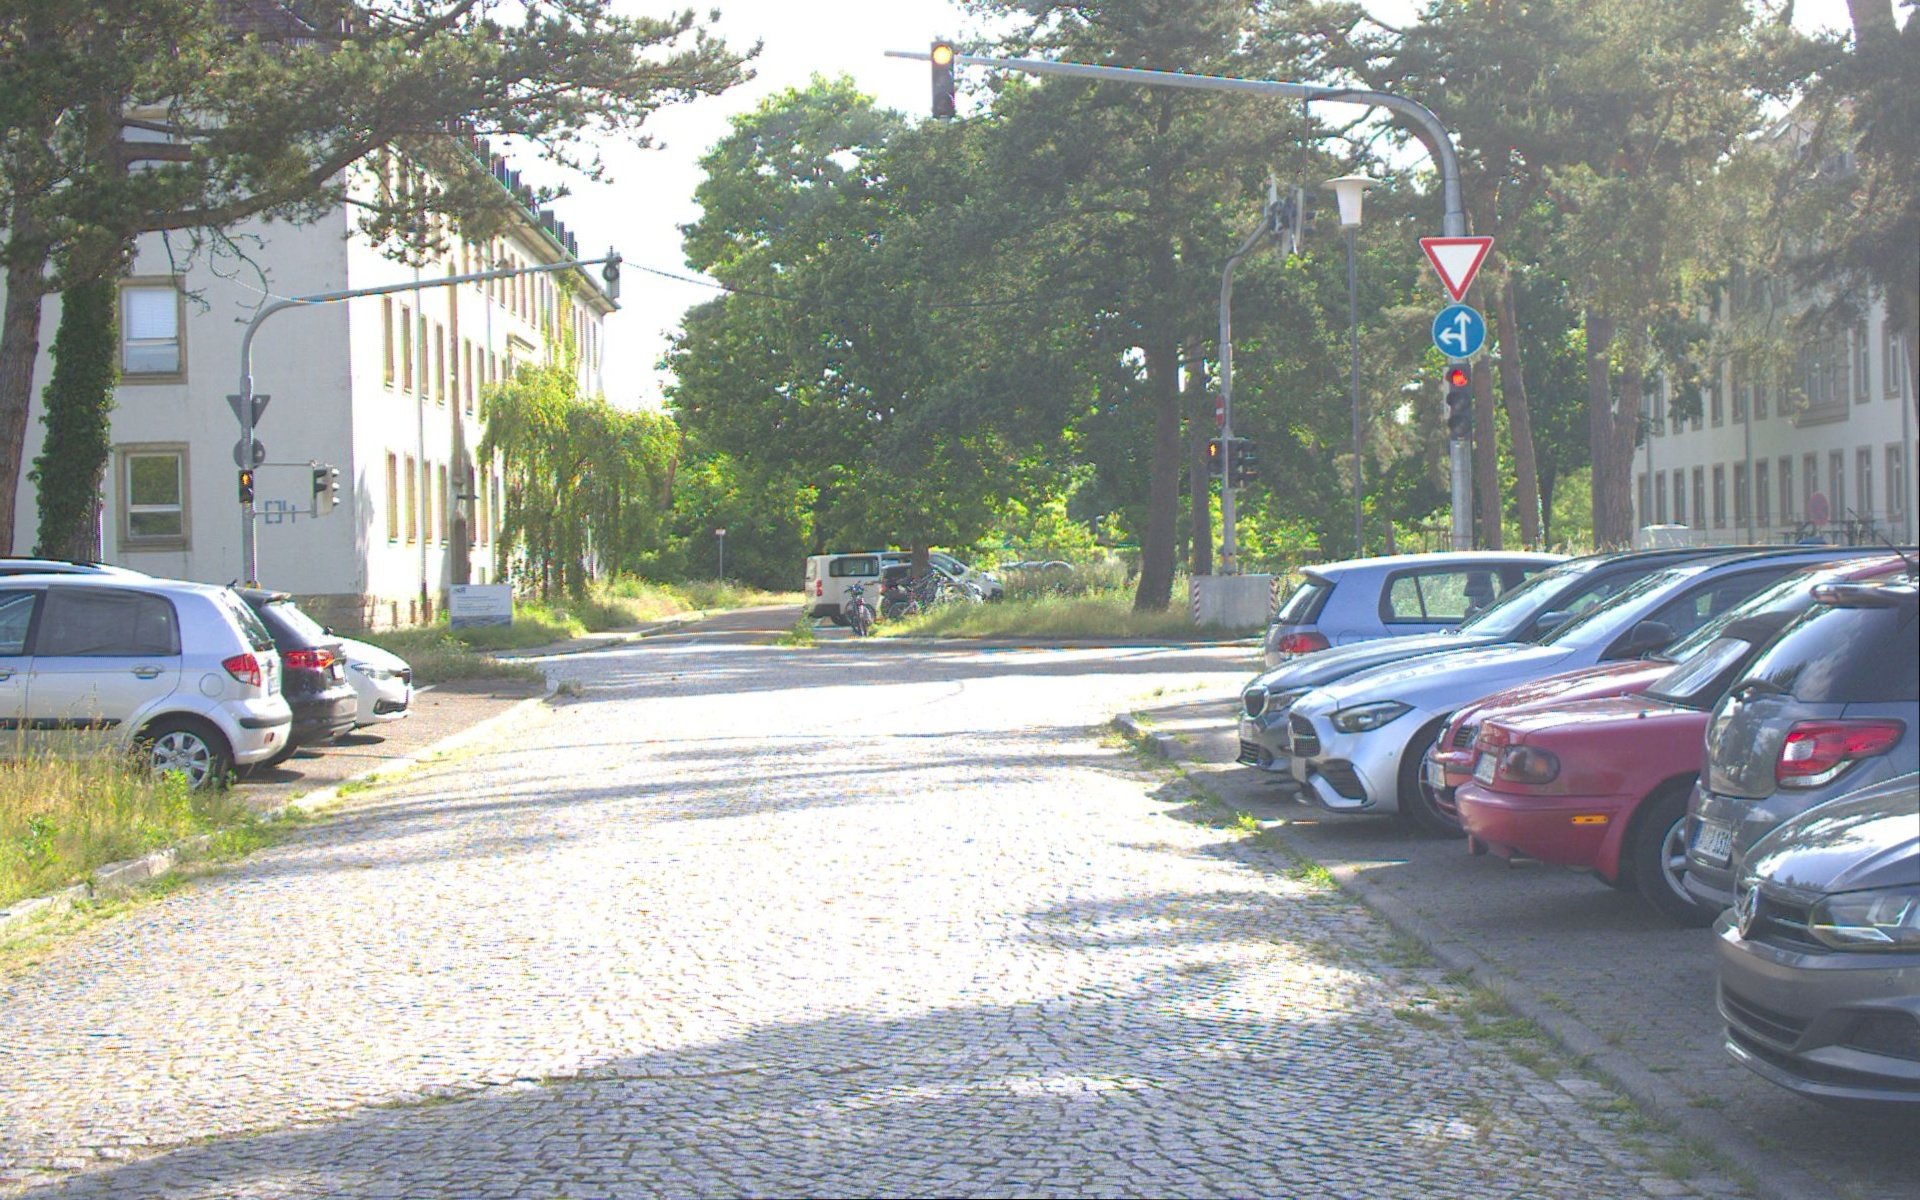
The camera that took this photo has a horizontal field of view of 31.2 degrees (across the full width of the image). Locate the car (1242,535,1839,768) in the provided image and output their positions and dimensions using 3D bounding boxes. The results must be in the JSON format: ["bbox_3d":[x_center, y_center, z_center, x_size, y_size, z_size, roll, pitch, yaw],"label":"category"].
[{"bbox_3d":[4.040,0.336,24.327,3.882,1.410,1.637,-3,1,0],"label":"car"}]

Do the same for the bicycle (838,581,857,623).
[{"bbox_3d":[-2.711,0.040,82.762,0.417,1.007,1.483,1,0,-1],"label":"bicycle"}]

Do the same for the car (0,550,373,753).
[{"bbox_3d":[-7.085,0.398,28.806,4.079,1.588,1.886,1,1,-4],"label":"car"}]

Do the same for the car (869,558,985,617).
[{"bbox_3d":[-0.855,-0.314,87.609,2.781,1.462,1.671,1,0,-6],"label":"car"}]

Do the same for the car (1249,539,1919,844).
[{"bbox_3d":[3.907,0.450,18.830,4.432,1.410,1.781,-3,1,0],"label":"car"}]

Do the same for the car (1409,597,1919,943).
[{"bbox_3d":[3.874,0.632,14.348,3.707,1.219,1.746,-3,1,0],"label":"car"}]

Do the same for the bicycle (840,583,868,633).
[{"bbox_3d":[-2.138,0.158,69.536,0.467,1.007,1.586,1,0,-5],"label":"bicycle"}]

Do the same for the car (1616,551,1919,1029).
[{"bbox_3d":[4.310,0.527,11.751,3.707,1.444,1.816,-3,1,-1],"label":"car"}]

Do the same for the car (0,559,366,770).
[{"bbox_3d":[-6.579,0.454,25.852,3.986,1.475,1.803,1,1,-4],"label":"car"}]

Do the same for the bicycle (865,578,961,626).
[{"bbox_3d":[-1.034,0.044,74.844,2.004,1.007,0.632,1,0,-8],"label":"bicycle"}]

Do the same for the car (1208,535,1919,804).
[{"bbox_3d":[3.927,0.402,21.546,4.559,1.410,1.637,-3,1,0],"label":"car"}]

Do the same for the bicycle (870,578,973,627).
[{"bbox_3d":[-0.825,0.049,73.134,2.108,1.007,0.621,1,0,-8],"label":"bicycle"}]

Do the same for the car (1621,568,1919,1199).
[{"bbox_3d":[3.773,0.602,8.875,3.707,1.444,1.856,-3,1,0],"label":"car"}]

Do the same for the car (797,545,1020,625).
[{"bbox_3d":[-1.372,-0.378,91.230,5.520,2.007,2.001,1,0,-19],"label":"car"}]

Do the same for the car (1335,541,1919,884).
[{"bbox_3d":[4.015,0.480,16.749,4.127,1.444,1.637,-3,1,0],"label":"car"}]

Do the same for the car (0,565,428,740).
[{"bbox_3d":[-7.086,0.451,31.120,4.333,1.463,1.831,1,1,-4],"label":"car"}]

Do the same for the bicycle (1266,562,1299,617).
[{"bbox_3d":[5.731,-0.191,61.129,0.300,0.957,1.586,1,0,-5],"label":"bicycle"}]

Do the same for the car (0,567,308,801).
[{"bbox_3d":[-6.406,0.532,23.223,3.745,1.482,1.646,1,1,-4],"label":"car"}]
